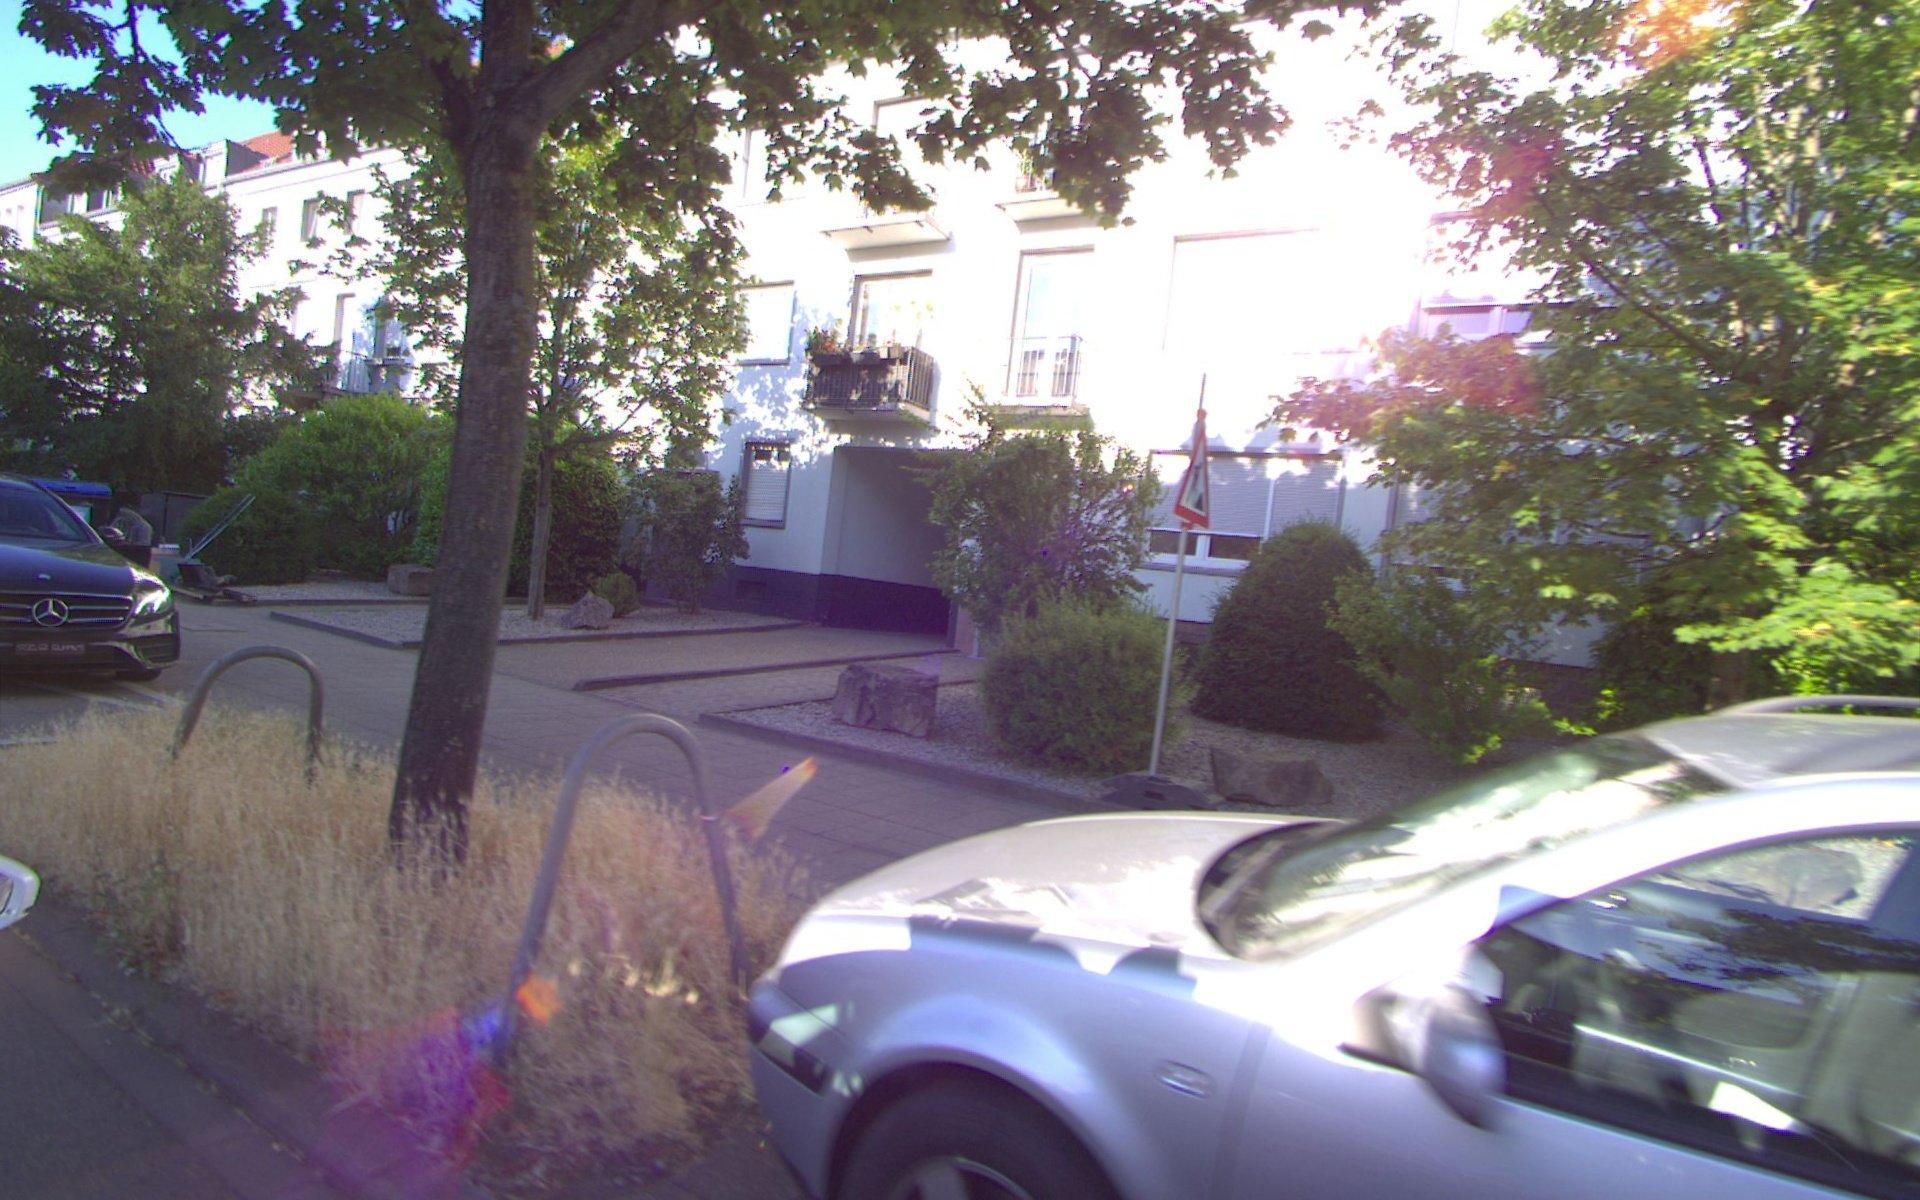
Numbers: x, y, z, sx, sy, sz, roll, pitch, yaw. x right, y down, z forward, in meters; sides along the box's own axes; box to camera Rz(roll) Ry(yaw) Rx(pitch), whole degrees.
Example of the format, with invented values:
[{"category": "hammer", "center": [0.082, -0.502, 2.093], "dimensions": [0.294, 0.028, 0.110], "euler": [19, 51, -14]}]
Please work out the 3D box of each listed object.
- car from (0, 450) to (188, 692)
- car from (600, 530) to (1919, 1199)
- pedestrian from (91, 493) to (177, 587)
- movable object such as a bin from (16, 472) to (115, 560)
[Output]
[{"category": "car", "center": [-8.271, -0.423, 8.007], "dimensions": [4.742, 1.602, 1.874], "euler": [7, 2, 33]}, {"category": "car", "center": [1.561, 0.867, 1.682], "dimensions": [4.342, 1.510, 1.637], "euler": [7, 2, 31]}, {"category": "pedestrian", "center": [-12.027, -0.872, 14.655], "dimensions": [0.777, 1.250, 0.673], "euler": [7, 1, 32]}, {"category": "movable object such as a bin", "center": [-17.108, -1.606, 19.248], "dimensions": [1.123, 1.513, 1.264], "euler": [8, 4, 41]}]
